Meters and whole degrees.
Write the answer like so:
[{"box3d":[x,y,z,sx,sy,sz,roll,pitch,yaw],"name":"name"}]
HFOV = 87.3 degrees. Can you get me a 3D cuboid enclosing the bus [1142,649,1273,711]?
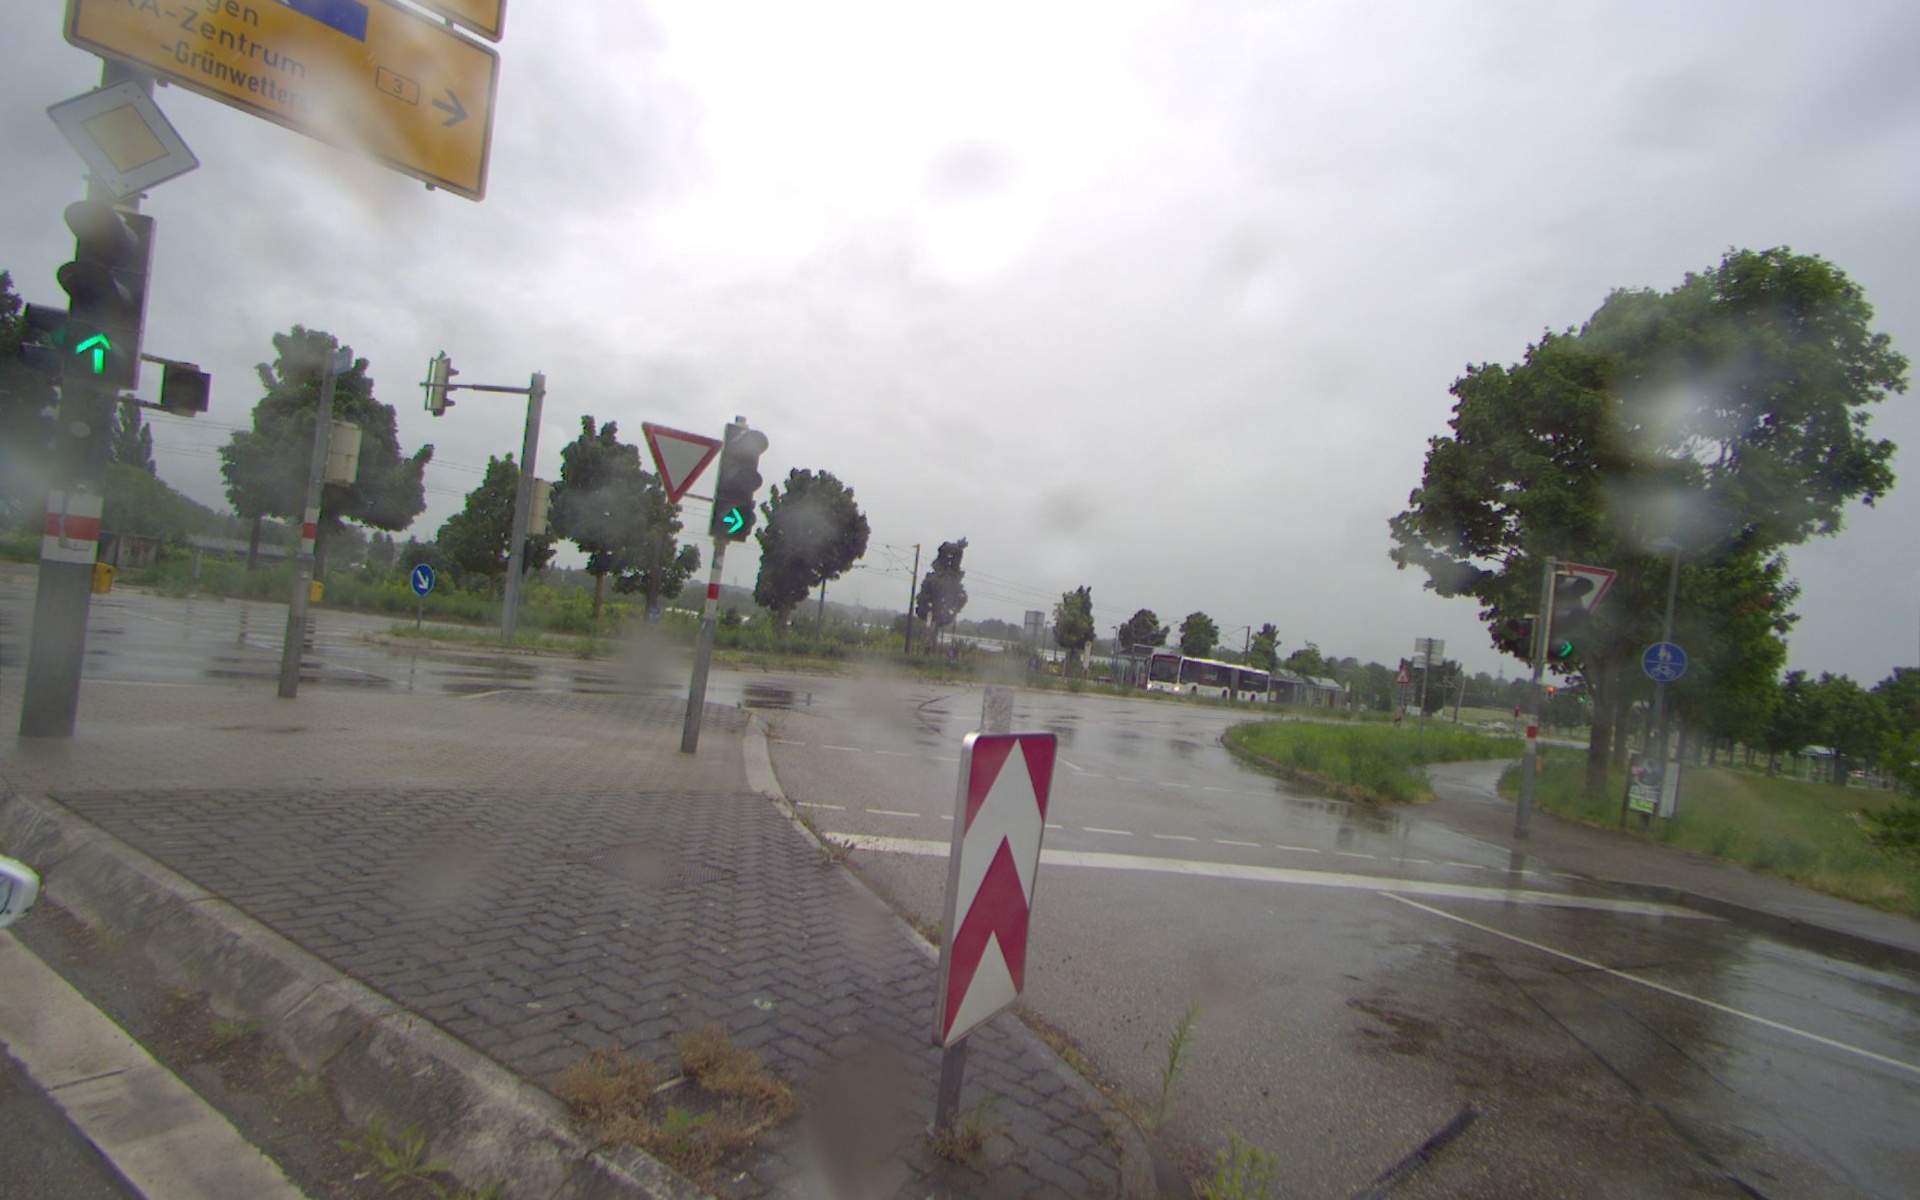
[{"box3d":[19.453,6.355,77.356,2.714,3.828,18.388,6,-2,36],"name":"bus"}]
